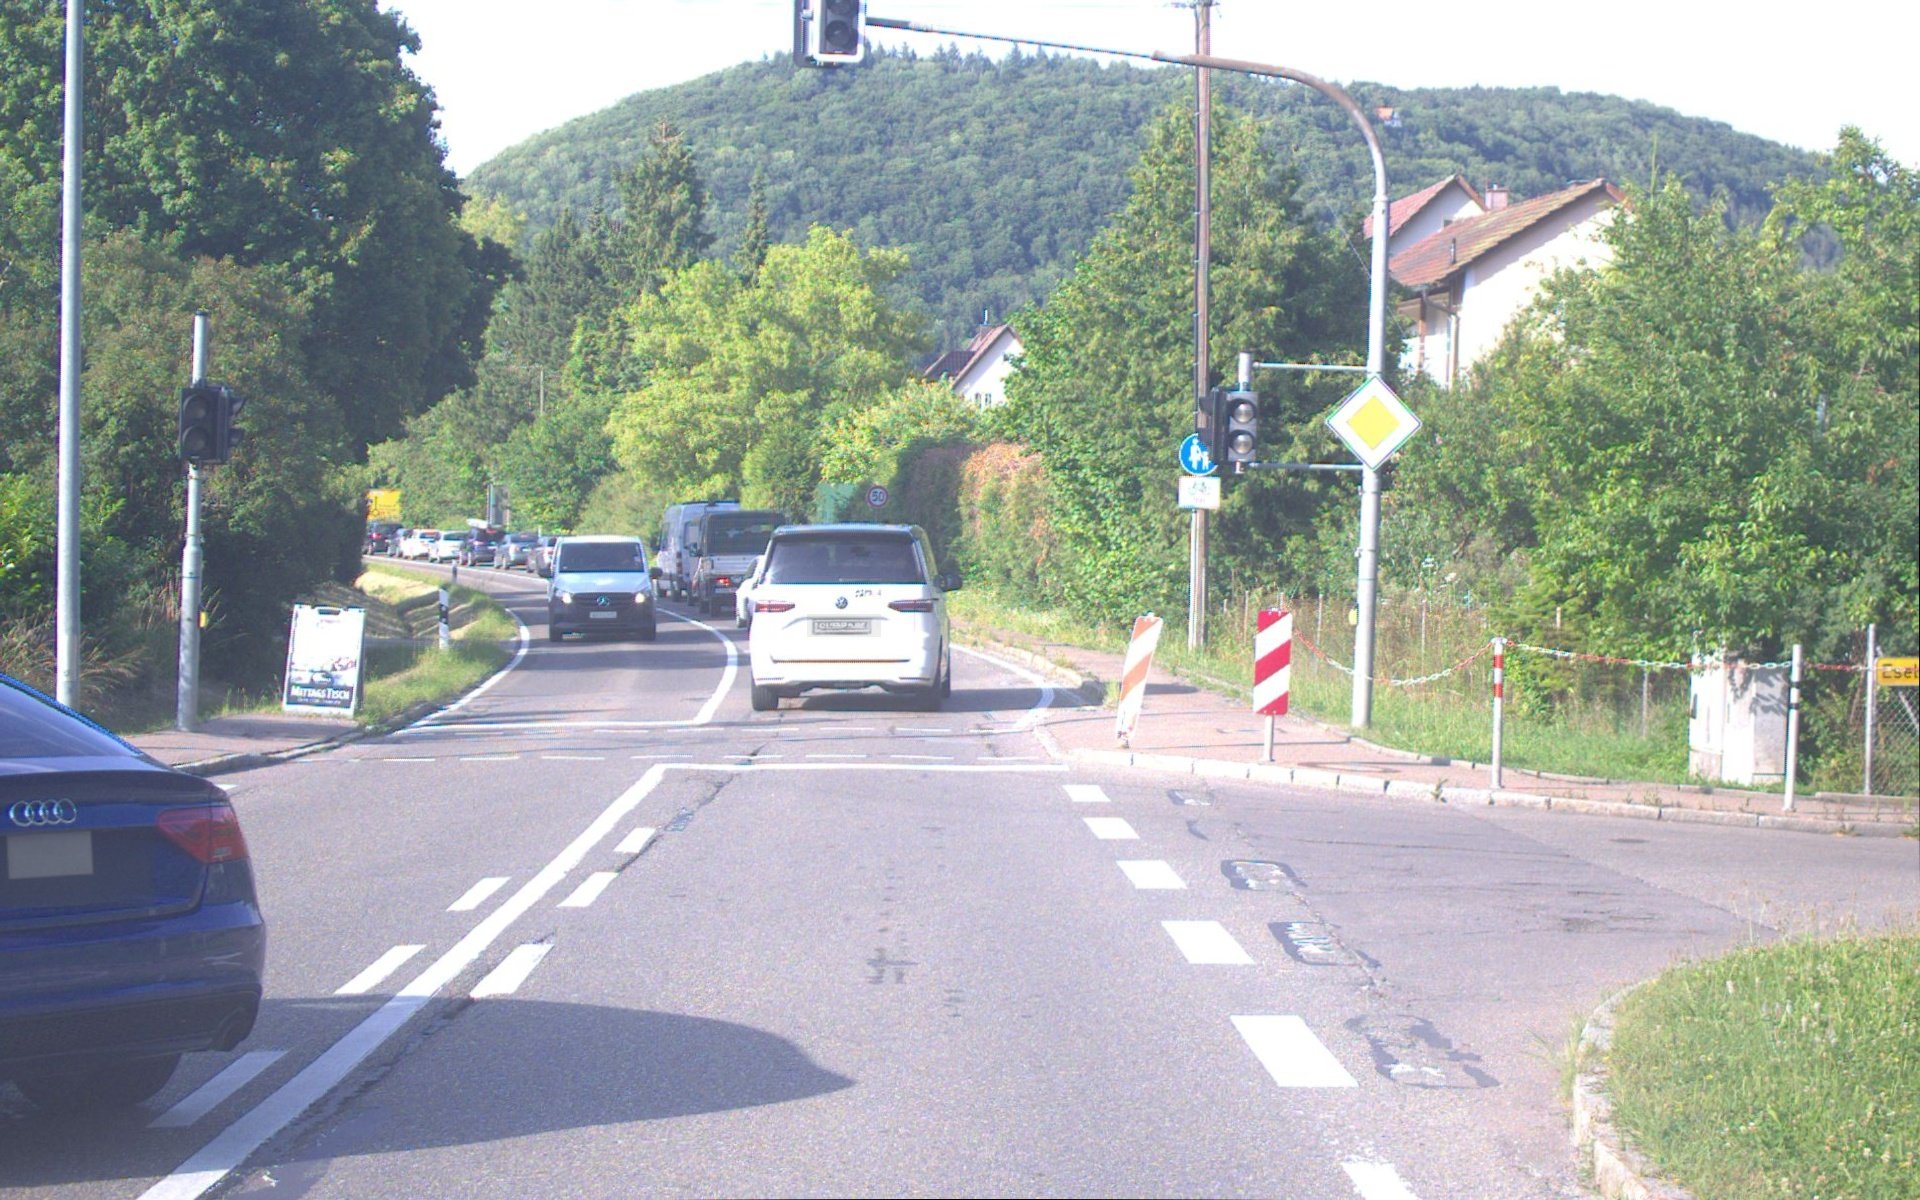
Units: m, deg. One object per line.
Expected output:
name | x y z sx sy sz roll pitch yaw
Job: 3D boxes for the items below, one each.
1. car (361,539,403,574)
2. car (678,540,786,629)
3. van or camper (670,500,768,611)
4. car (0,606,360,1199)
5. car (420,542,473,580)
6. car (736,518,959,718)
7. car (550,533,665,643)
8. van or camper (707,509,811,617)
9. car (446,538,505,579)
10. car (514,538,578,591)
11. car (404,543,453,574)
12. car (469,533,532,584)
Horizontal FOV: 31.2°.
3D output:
car | -29.796 -2.260 177.285 1.771 1.777 4.001 -1 1 -15
car | -4.507 -0.323 67.516 1.993 1.678 4.001 0 1 -5
van or camper | -6.546 -1.207 92.832 2.414 2.894 6.132 0 1 -6
car | -3.765 0.734 9.639 4.223 1.404 1.831 0 1 41
car | -23.130 -1.743 154.869 1.941 1.678 4.001 -1 1 -14
car | -1.105 0.115 36.117 1.993 1.870 4.871 2 1 1
car | -6.501 -0.259 63.308 1.993 1.897 5.254 -1 1 -6
van or camper | -4.625 -0.860 78.335 2.179 2.377 5.370 0 1 -5
car | -20.667 -1.781 146.435 2.040 1.678 4.001 1 1 -14
car | -15.517 -1.332 128.721 1.795 1.787 4.002 2 2 -14
car | -25.379 -1.988 163.980 1.941 1.420 4.001 0 1 -14
car | -18.418 -1.666 137.640 1.993 2.007 4.001 0 1 -15
